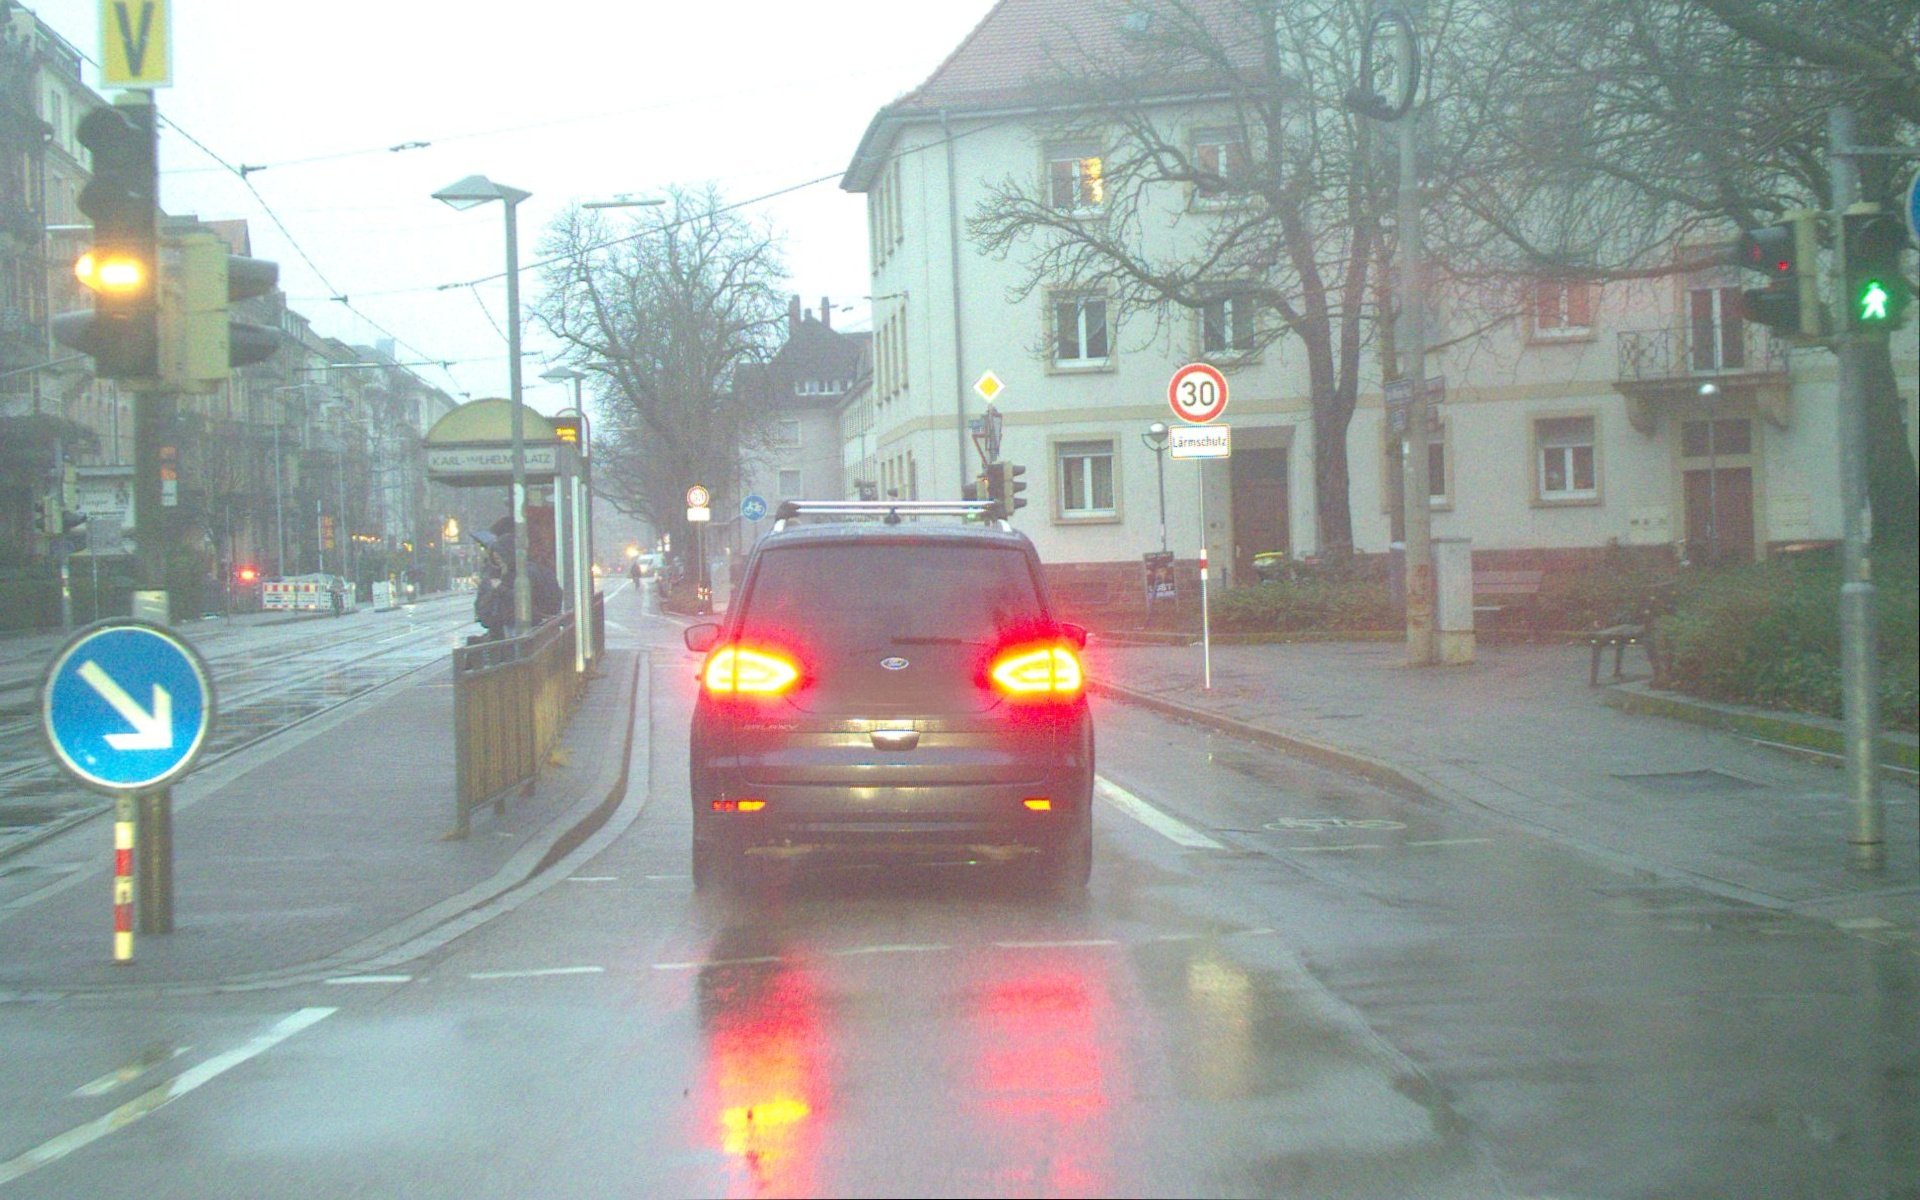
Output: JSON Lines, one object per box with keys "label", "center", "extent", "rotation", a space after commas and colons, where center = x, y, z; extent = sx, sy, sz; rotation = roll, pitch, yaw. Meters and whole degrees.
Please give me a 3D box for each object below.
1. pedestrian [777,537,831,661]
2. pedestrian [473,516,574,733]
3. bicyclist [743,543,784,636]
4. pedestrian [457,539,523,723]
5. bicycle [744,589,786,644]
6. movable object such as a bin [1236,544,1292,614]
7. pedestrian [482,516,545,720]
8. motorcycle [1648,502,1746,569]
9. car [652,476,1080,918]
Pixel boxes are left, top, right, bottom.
{"label": "pedestrian", "center": [-2.427, -0.015, 53.699], "extent": [0.715, 1.911, 0.688], "rotation": [1, 0, 6]}
{"label": "pedestrian", "center": [-3.974, 0.218, 31.327], "extent": [0.853, 1.949, 0.571], "rotation": [1, 0, -4]}
{"label": "bicyclist", "center": [-3.697, -0.199, 64.639], "extent": [0.730, 1.730, 0.766], "rotation": [-1, 0, -4]}
{"label": "pedestrian", "center": [-4.480, 0.288, 32.790], "extent": [0.557, 1.735, 0.571], "rotation": [1, 0, -4]}
{"label": "bicycle", "center": [-3.670, 0.303, 64.618], "extent": [0.731, 1.003, 1.764], "rotation": [-1, 1, -4]}
{"label": "movable object such as a bin", "center": [5.522, -0.386, 62.402], "extent": [0.853, 1.247, 0.521], "rotation": [1, 0, 38]}
{"label": "pedestrian", "center": [-4.394, 0.174, 33.858], "extent": [0.557, 1.980, 0.571], "rotation": [1, 0, -4]}
{"label": "motorcycle", "center": [12.807, -1.121, 59.751], "extent": [0.568, 1.101, 1.602], "rotation": [-6, 3, -41]}
{"label": "car", "center": [-0.524, 0.397, 16.707], "extent": [1.801, 1.864, 4.018], "rotation": [1, 1, -4]}
